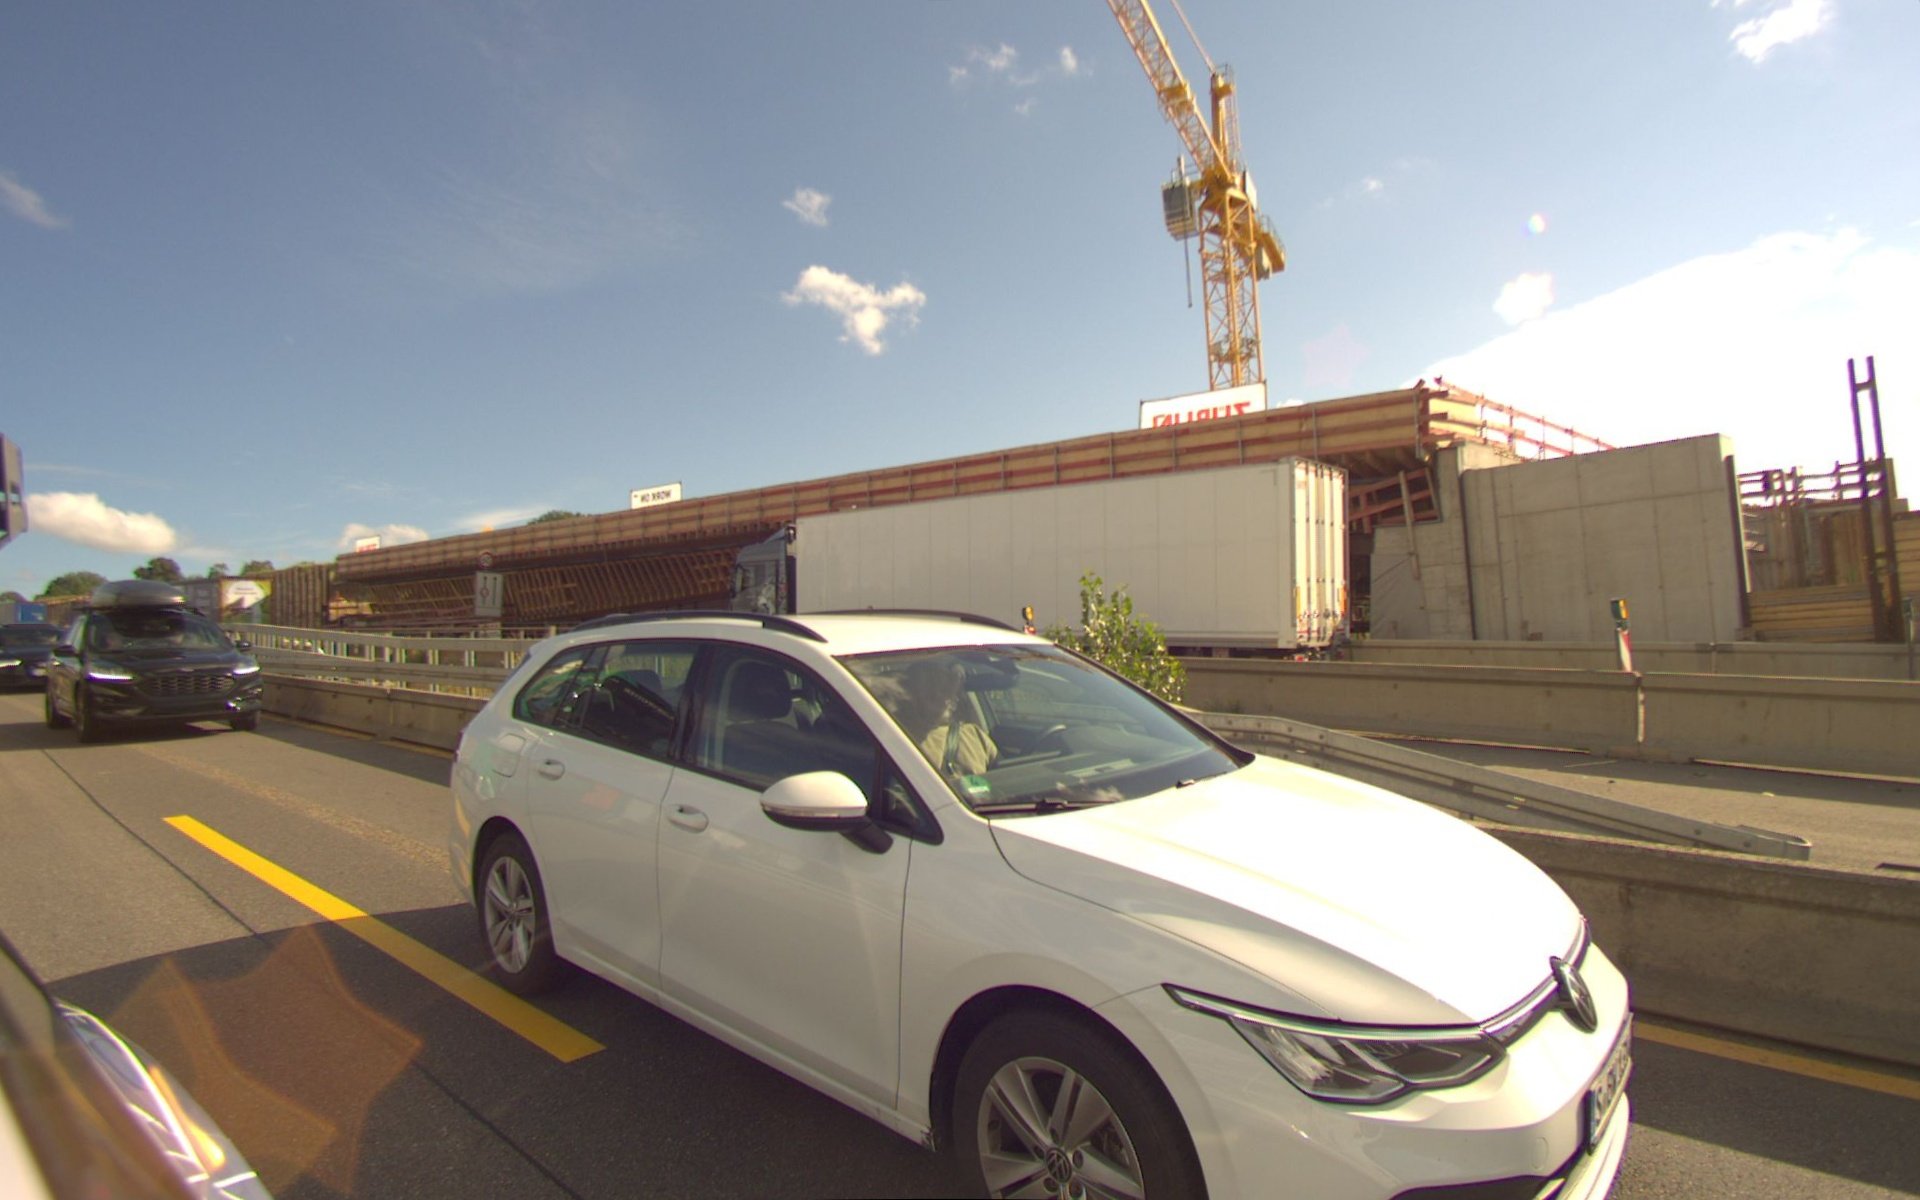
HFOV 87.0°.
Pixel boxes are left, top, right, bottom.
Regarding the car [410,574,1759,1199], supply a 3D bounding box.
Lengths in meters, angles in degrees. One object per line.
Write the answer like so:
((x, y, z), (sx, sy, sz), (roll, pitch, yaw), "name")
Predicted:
((-0.156, 0.750, 3.539), (4.516, 1.502, 1.750), (0, -2, 43), "car")

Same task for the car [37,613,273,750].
((-10.983, 0.990, 13.696), (4.383, 1.554, 1.780), (-2, -2, 42), "car")

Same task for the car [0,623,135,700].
((-20.061, 1.278, 22.541), (4.503, 1.441, 1.924), (0, 0, 41), "car")

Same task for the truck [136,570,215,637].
((-50.800, 0.252, 65.476), (5.963, 4.169, 2.686), (-1, 0, 38), "truck")

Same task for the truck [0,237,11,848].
((-10.836, -0.306, 8.736), (10.308, 3.876, 2.630), (-1, 0, 40), "truck")

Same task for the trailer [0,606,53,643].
((-97.173, 2.480, 104.889), (13.516, 3.694, 2.834), (-1, 0, 40), "trailer")

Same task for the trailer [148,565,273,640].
((-45.516, 0.202, 61.185), (13.795, 4.187, 2.661), (-1, 0, 39), "trailer")

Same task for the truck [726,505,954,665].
((-3.330, -0.338, 27.109), (6.016, 3.817, 2.747), (-1, 0, 42), "truck")

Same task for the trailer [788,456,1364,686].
((1.584, -0.426, 22.728), (13.800, 3.870, 2.791), (-1, 0, 42), "trailer")

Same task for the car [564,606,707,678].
((-8.621, 1.041, 26.697), (1.970, 1.739, 4.125), (0, 0, -44), "car")
